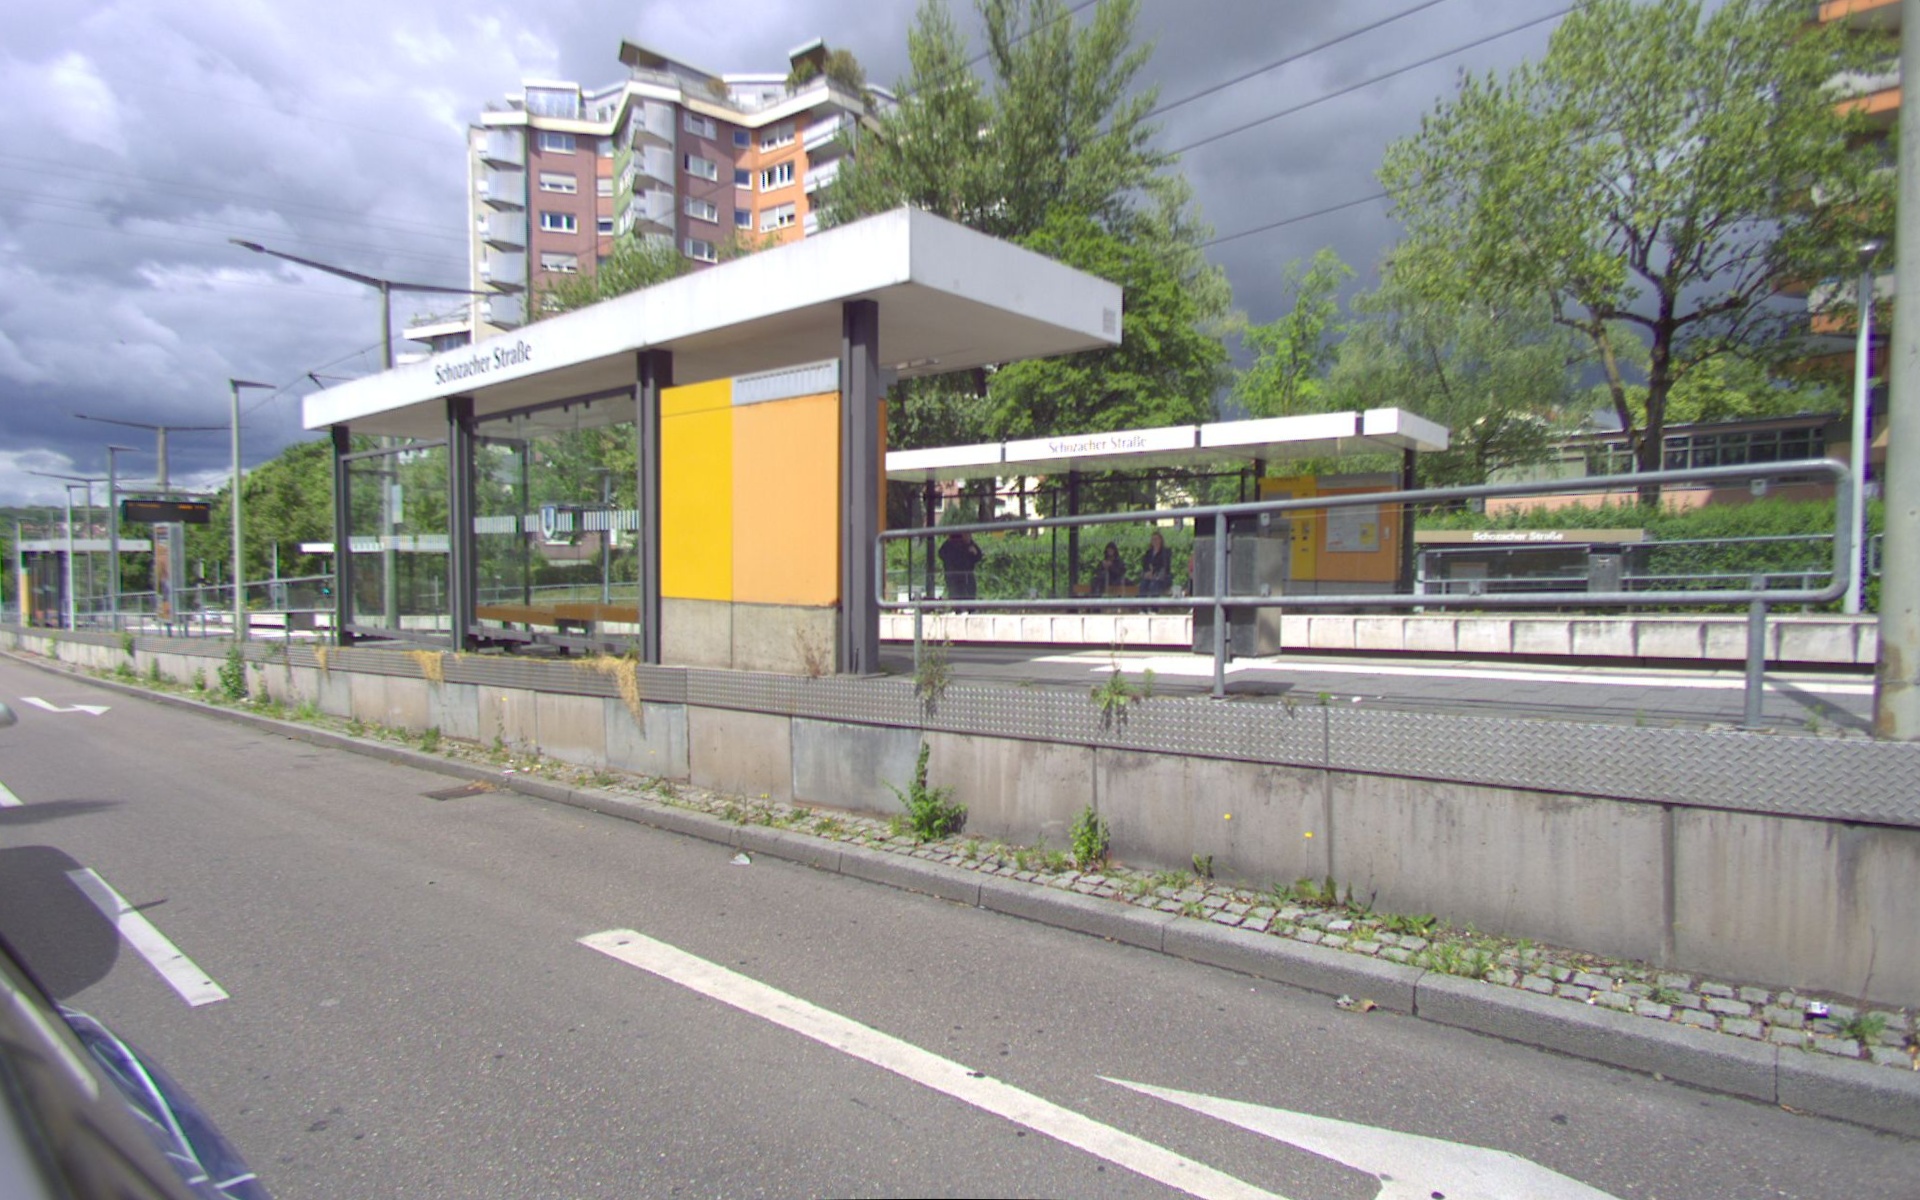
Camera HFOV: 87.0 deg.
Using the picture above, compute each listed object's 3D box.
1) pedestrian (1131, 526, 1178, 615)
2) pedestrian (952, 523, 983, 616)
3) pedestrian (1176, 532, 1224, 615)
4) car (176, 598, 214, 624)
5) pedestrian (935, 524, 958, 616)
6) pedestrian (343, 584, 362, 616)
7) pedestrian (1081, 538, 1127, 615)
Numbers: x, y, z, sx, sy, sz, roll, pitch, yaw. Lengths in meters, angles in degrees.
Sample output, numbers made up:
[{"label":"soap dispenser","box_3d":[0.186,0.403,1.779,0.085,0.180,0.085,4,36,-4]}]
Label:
[{"label":"pedestrian","box_3d":[3.206,-0.475,16.678,0.463,1.428,0.704,-1,0,40]},{"label":"pedestrian","box_3d":[0.131,-0.574,19.171,0.544,1.726,0.386,-1,0,-2]},{"label":"pedestrian","box_3d":[3.830,-0.413,16.124,0.463,1.287,0.704,-1,0,40]},{"label":"car","box_3d":[-60.463,0.846,79.984,4.000,2.029,1.714,-1,0,43]},{"label":"pedestrian","box_3d":[-0.258,-0.565,19.140,0.421,1.726,0.353,-1,0,-1]},{"label":"pedestrian","box_3d":[-24.883,0.014,41.474,0.562,1.287,0.529,-1,0,43]},{"label":"pedestrian","box_3d":[2.491,-0.395,17.478,0.463,1.287,0.704,-1,0,40]}]
